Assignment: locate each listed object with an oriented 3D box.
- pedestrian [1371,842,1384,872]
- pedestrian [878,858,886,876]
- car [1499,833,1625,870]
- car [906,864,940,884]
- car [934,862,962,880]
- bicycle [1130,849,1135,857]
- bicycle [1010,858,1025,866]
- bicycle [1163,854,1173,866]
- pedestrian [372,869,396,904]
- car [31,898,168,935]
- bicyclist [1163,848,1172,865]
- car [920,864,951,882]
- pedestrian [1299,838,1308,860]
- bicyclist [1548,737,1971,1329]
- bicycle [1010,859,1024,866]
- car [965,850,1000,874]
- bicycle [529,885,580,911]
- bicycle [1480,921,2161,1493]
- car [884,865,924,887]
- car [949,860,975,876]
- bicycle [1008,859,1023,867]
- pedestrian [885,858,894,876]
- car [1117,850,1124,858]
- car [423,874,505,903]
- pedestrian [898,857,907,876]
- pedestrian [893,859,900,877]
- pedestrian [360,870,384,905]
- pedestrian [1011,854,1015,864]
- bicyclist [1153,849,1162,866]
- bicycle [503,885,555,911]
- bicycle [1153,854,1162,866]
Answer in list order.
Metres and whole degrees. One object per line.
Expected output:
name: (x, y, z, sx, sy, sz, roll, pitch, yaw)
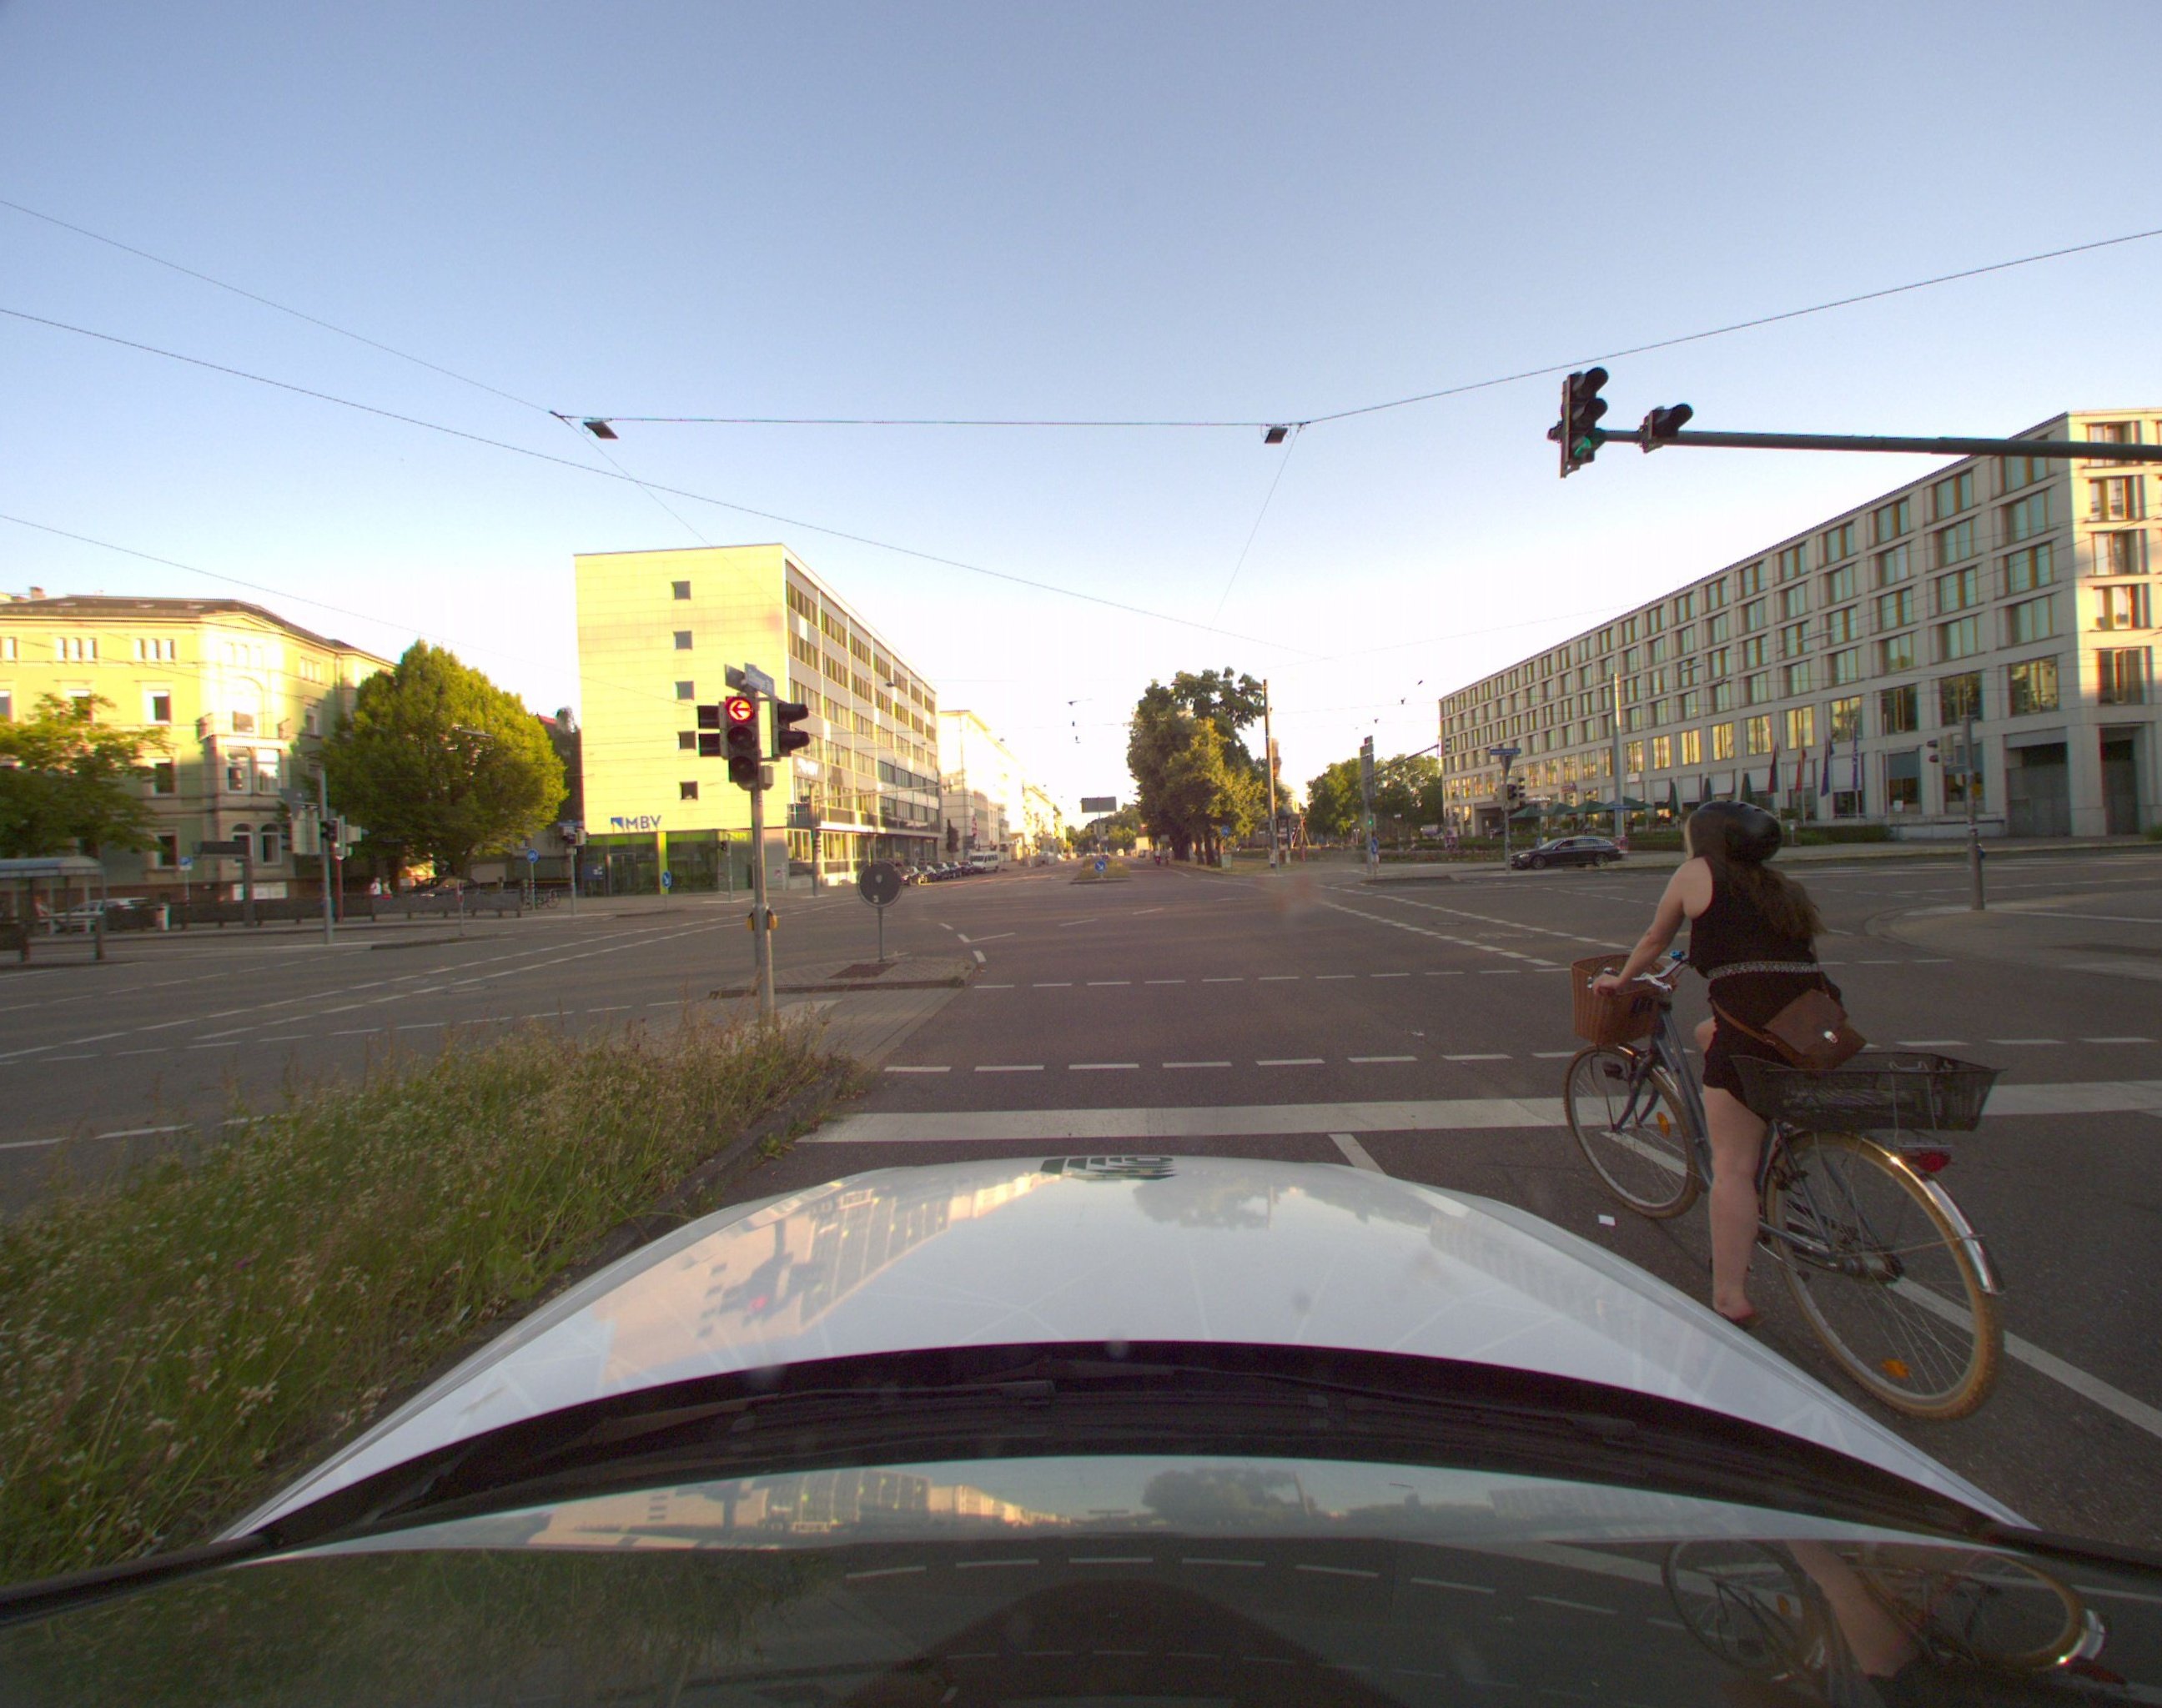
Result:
pedestrian: (15.741, 0.152, 43.278, 0.489, 1.540, 0.408, -3, 0, 1)
pedestrian: (-18.289, 1.206, 74.884, 0.549, 1.679, 0.500, -3, 0, 1)
car: (23.086, -0.128, 39.206, 4.803, 1.515, 2.002, -3, 0, 4)
car: (-13.319, 1.652, 68.901, 1.913, 1.464, 4.002, -3, 0, 2)
car: (-12.859, 1.580, 79.016, 1.913, 1.568, 4.002, -3, 0, 2)
bicycle: (13.190, -0.212, 208.847, 0.997, 2.013, 4.007, -3, 0, 6)
bicycle: (-10.128, 1.299, 129.323, 2.198, 1.236, 0.839, -3, 0, 0)
bicycle: (8.793, 0.580, 82.423, 0.744, 1.144, 2.506, -3, 0, 2)
pedestrian: (-37.202, 1.739, 43.494, 0.641, 1.790, 0.720, -3, 0, -12)
car: (-45.268, 2.851, 37.654, 3.588, 1.372, 1.833, -3, 0, -15)
bicyclist: (8.775, 0.280, 82.426, 0.744, 1.691, 0.799, -3, 0, 1)
car: (-13.111, 1.689, 73.714, 1.913, 1.464, 4.002, -3, 0, 2)
pedestrian: (17.731, -0.393, 64.887, 0.458, 1.656, 0.567, -3, 0, 1)
bicyclist: (2.169, 0.497, 2.761, 0.597, 1.636, 0.999, -1, 0, 2)
bicycle: (-10.014, 1.328, 127.408, 2.198, 1.112, 0.689, -3, 0, 0)
car: (-11.065, 0.873, 91.674, 1.988, 2.478, 5.888, -3, 0, 12)
bicycle: (-25.708, 2.153, 39.834, 0.832, 1.112, 2.216, -3, 0, 6)
bicycle: (2.175, 0.887, 2.858, 0.609, 1.132, 2.005, -1, 0, 2)
car: (-13.515, 1.665, 62.404, 1.913, 1.464, 4.105, -3, 0, 2)
car: (-12.392, 1.452, 85.239, 1.913, 1.568, 4.002, -3, 0, 2)
bicycle: (-10.095, 1.329, 125.893, 2.198, 1.112, 0.619, -3, 0, 0)
pedestrian: (-17.742, 1.207, 75.461, 0.549, 1.679, 0.500, -3, 0, 1)
car: (8.682, -0.042, 180.405, 1.403, 1.641, 4.000, -3, 0, 1)
car: (-34.885, 1.912, 46.175, 1.830, 1.372, 3.594, -3, 0, 0)
pedestrian: (-16.422, 1.131, 74.949, 0.549, 1.679, 0.500, -3, 0, 1)
pedestrian: (-17.090, 1.303, 75.508, 0.498, 1.679, 0.500, -3, 0, 1)
pedestrian: (-37.233, 1.749, 42.761, 0.641, 1.790, 0.720, -3, 0, -12)
pedestrian: (-13.891, 1.085, 165.483, 0.677, 2.013, 0.545, -3, 0, 1)
bicyclist: (7.722, 0.330, 82.369, 0.744, 1.663, 0.873, -3, 0, 1)
bicycle: (-27.011, 2.116, 39.877, 0.832, 1.112, 2.216, -3, 0, 6)
bicycle: (7.742, 0.609, 82.602, 0.744, 1.144, 2.506, -3, 0, 2)
